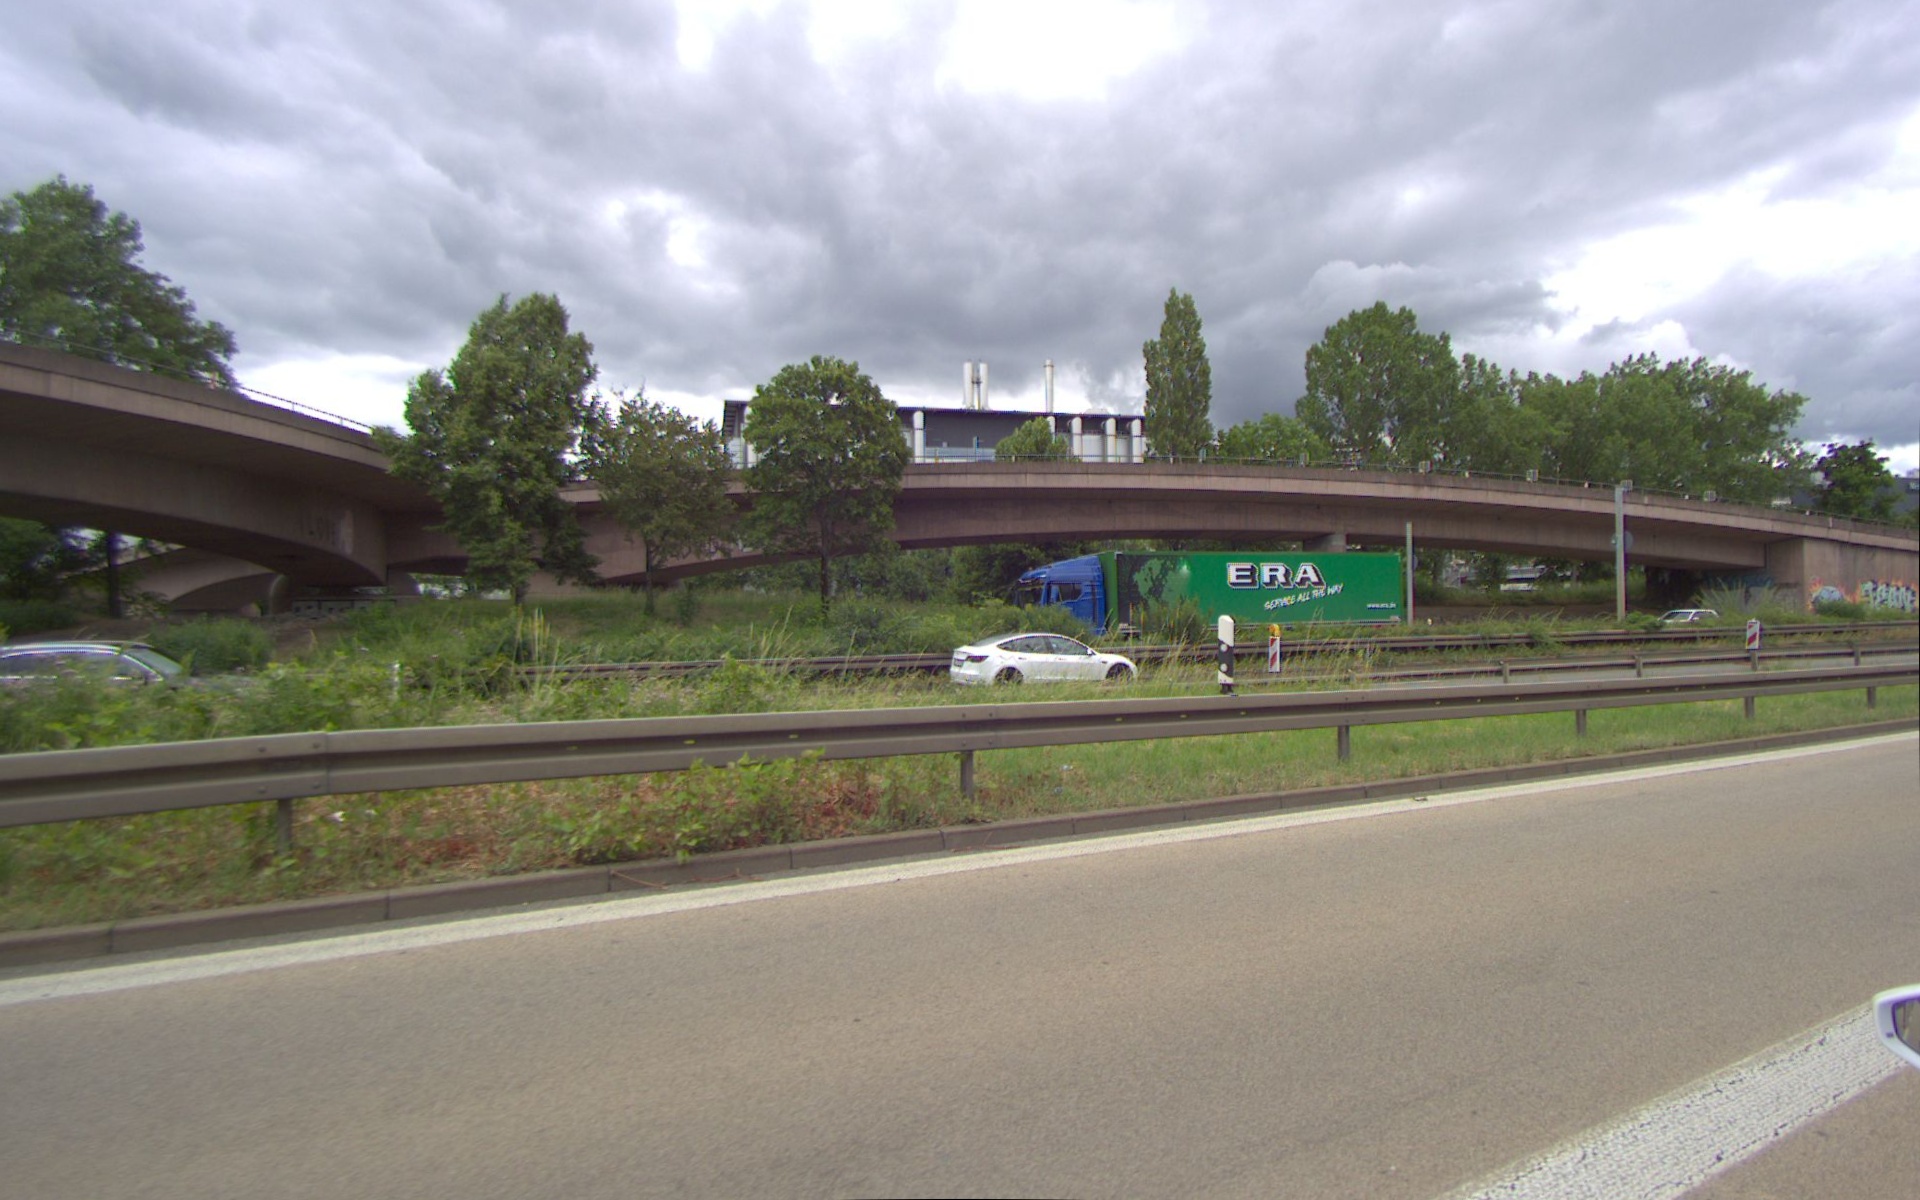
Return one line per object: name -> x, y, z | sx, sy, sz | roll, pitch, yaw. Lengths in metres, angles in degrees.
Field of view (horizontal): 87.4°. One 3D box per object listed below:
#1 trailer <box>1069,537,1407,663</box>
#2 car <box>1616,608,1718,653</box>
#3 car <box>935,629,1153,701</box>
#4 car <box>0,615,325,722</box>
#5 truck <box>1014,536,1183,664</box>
trailer -> 10.918, 0.027, 38.626 | 13.775, 4.351, 2.766 | 0, 0, -22
car -> 33.273, 1.404, 47.308 | 3.937, 2.040, 1.992 | 0, 0, -18
car -> 1.959, 1.457, 23.496 | 4.729, 1.475, 1.990 | 0, 0, -21
car -> -13.668, 1.082, 17.085 | 4.510, 1.636, 2.034 | 0, 0, -21
truck -> 4.952, 0.012, 36.138 | 5.421, 4.329, 2.748 | 0, 0, -22
